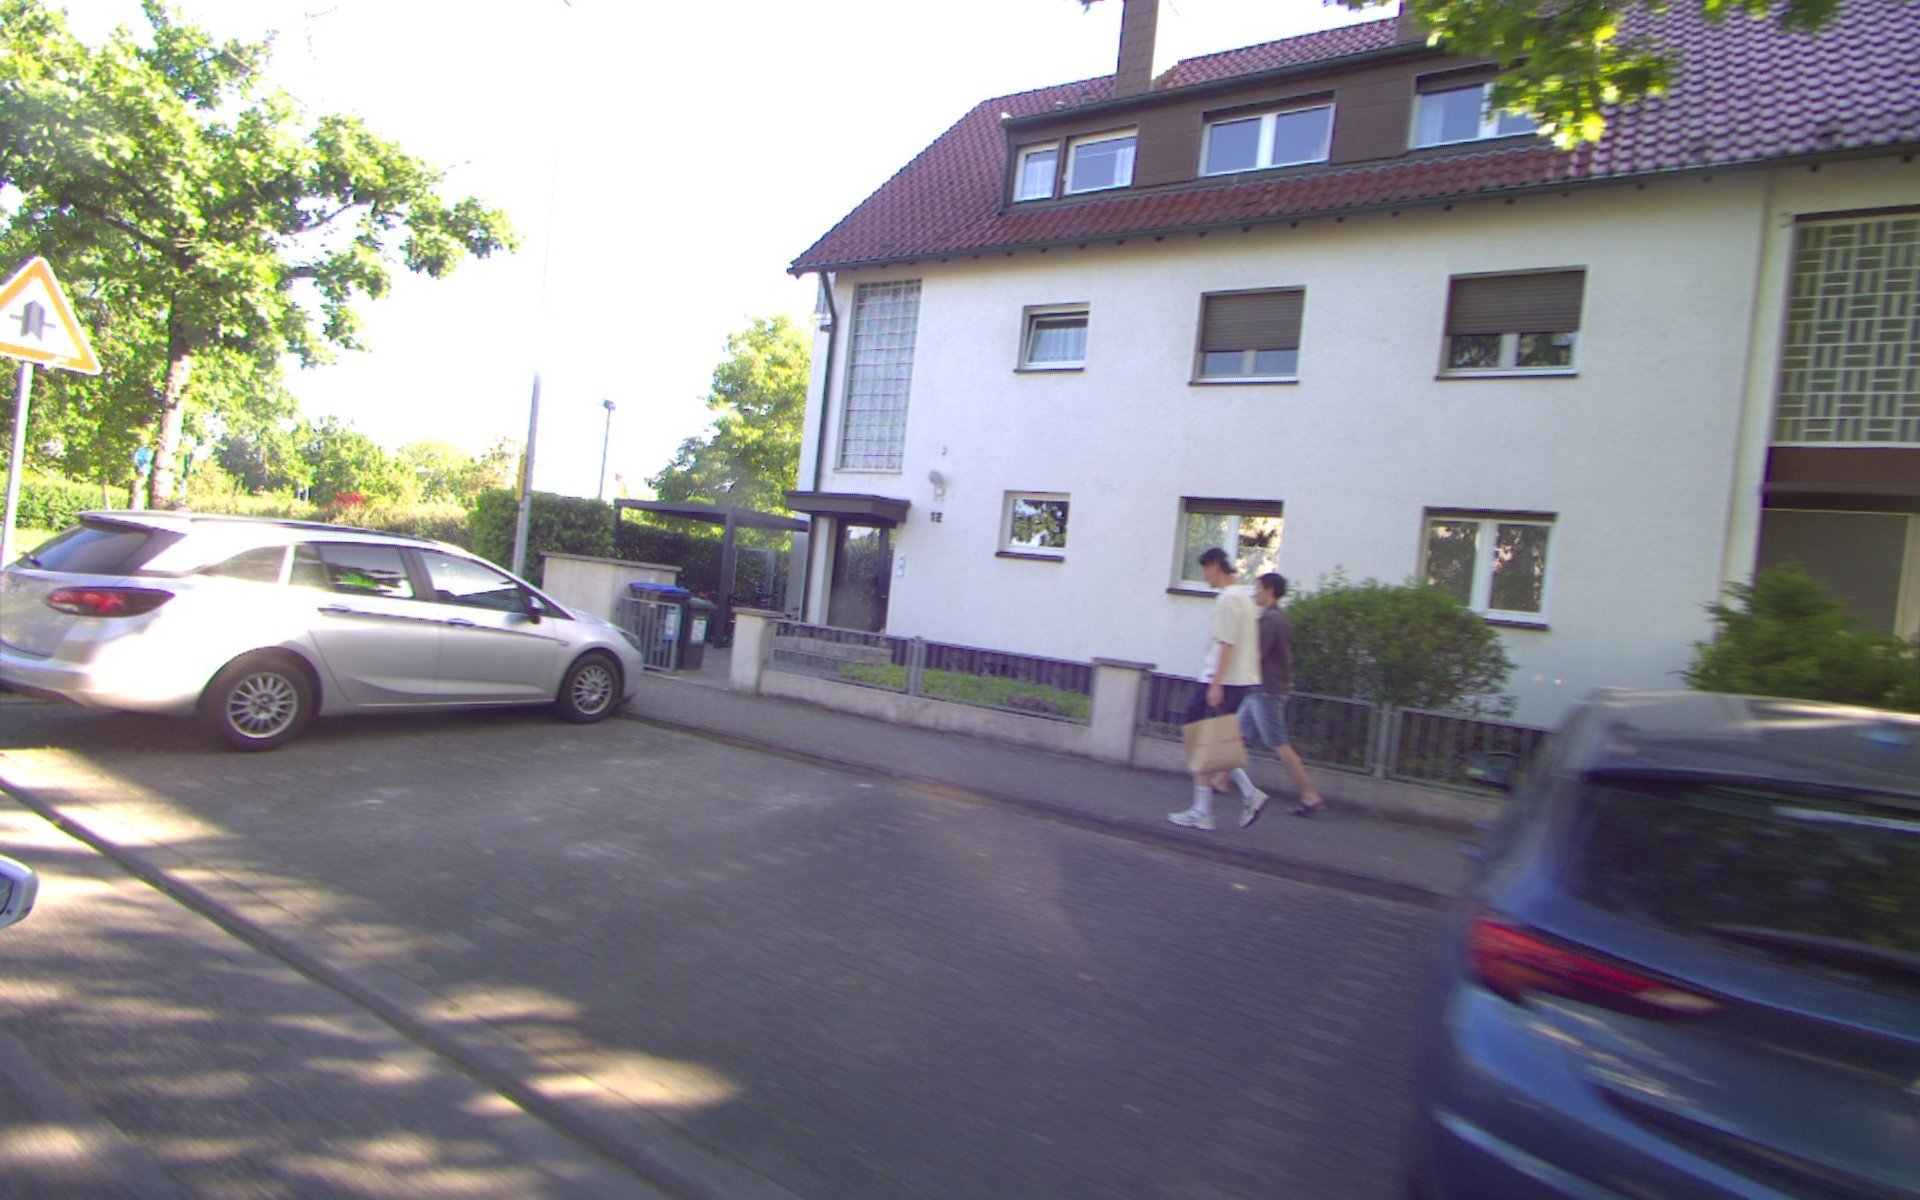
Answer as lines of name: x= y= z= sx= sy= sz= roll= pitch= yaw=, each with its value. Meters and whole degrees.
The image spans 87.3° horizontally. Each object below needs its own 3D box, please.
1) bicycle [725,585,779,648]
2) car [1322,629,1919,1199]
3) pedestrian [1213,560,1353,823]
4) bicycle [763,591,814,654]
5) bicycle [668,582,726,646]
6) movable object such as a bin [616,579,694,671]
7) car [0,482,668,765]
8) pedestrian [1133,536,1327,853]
bicycle: x=-3.818 y=0.289 z=18.541 sx=0.522 sy=1.068 sz=1.673 roll=6 pitch=1 yaw=1
car: x=2.669 y=1.029 z=3.350 sx=1.767 sy=1.522 sz=4.279 roll=7 pitch=0 yaw=33
pedestrian: x=2.495 y=0.674 z=7.729 sx=0.698 sy=1.851 sz=0.836 roll=6 pitch=1 yaw=30
bicycle: x=-3.138 y=0.395 z=18.537 sx=0.522 sy=1.068 sz=1.673 roll=6 pitch=1 yaw=1
bicycle: x=-4.832 y=0.245 z=18.568 sx=0.522 sy=1.068 sz=1.673 roll=6 pitch=1 yaw=1
movable object such as a bin: x=-3.826 y=0.317 z=12.621 sx=0.688 sy=1.058 sz=0.534 roll=7 pitch=1 yaw=31
car: x=-4.614 y=0.168 z=7.828 sx=1.766 sy=1.510 sz=4.434 roll=7 pitch=1 yaw=29
pedestrian: x=1.770 y=0.579 z=6.603 sx=0.909 sy=1.897 sz=0.608 roll=6 pitch=1 yaw=35
